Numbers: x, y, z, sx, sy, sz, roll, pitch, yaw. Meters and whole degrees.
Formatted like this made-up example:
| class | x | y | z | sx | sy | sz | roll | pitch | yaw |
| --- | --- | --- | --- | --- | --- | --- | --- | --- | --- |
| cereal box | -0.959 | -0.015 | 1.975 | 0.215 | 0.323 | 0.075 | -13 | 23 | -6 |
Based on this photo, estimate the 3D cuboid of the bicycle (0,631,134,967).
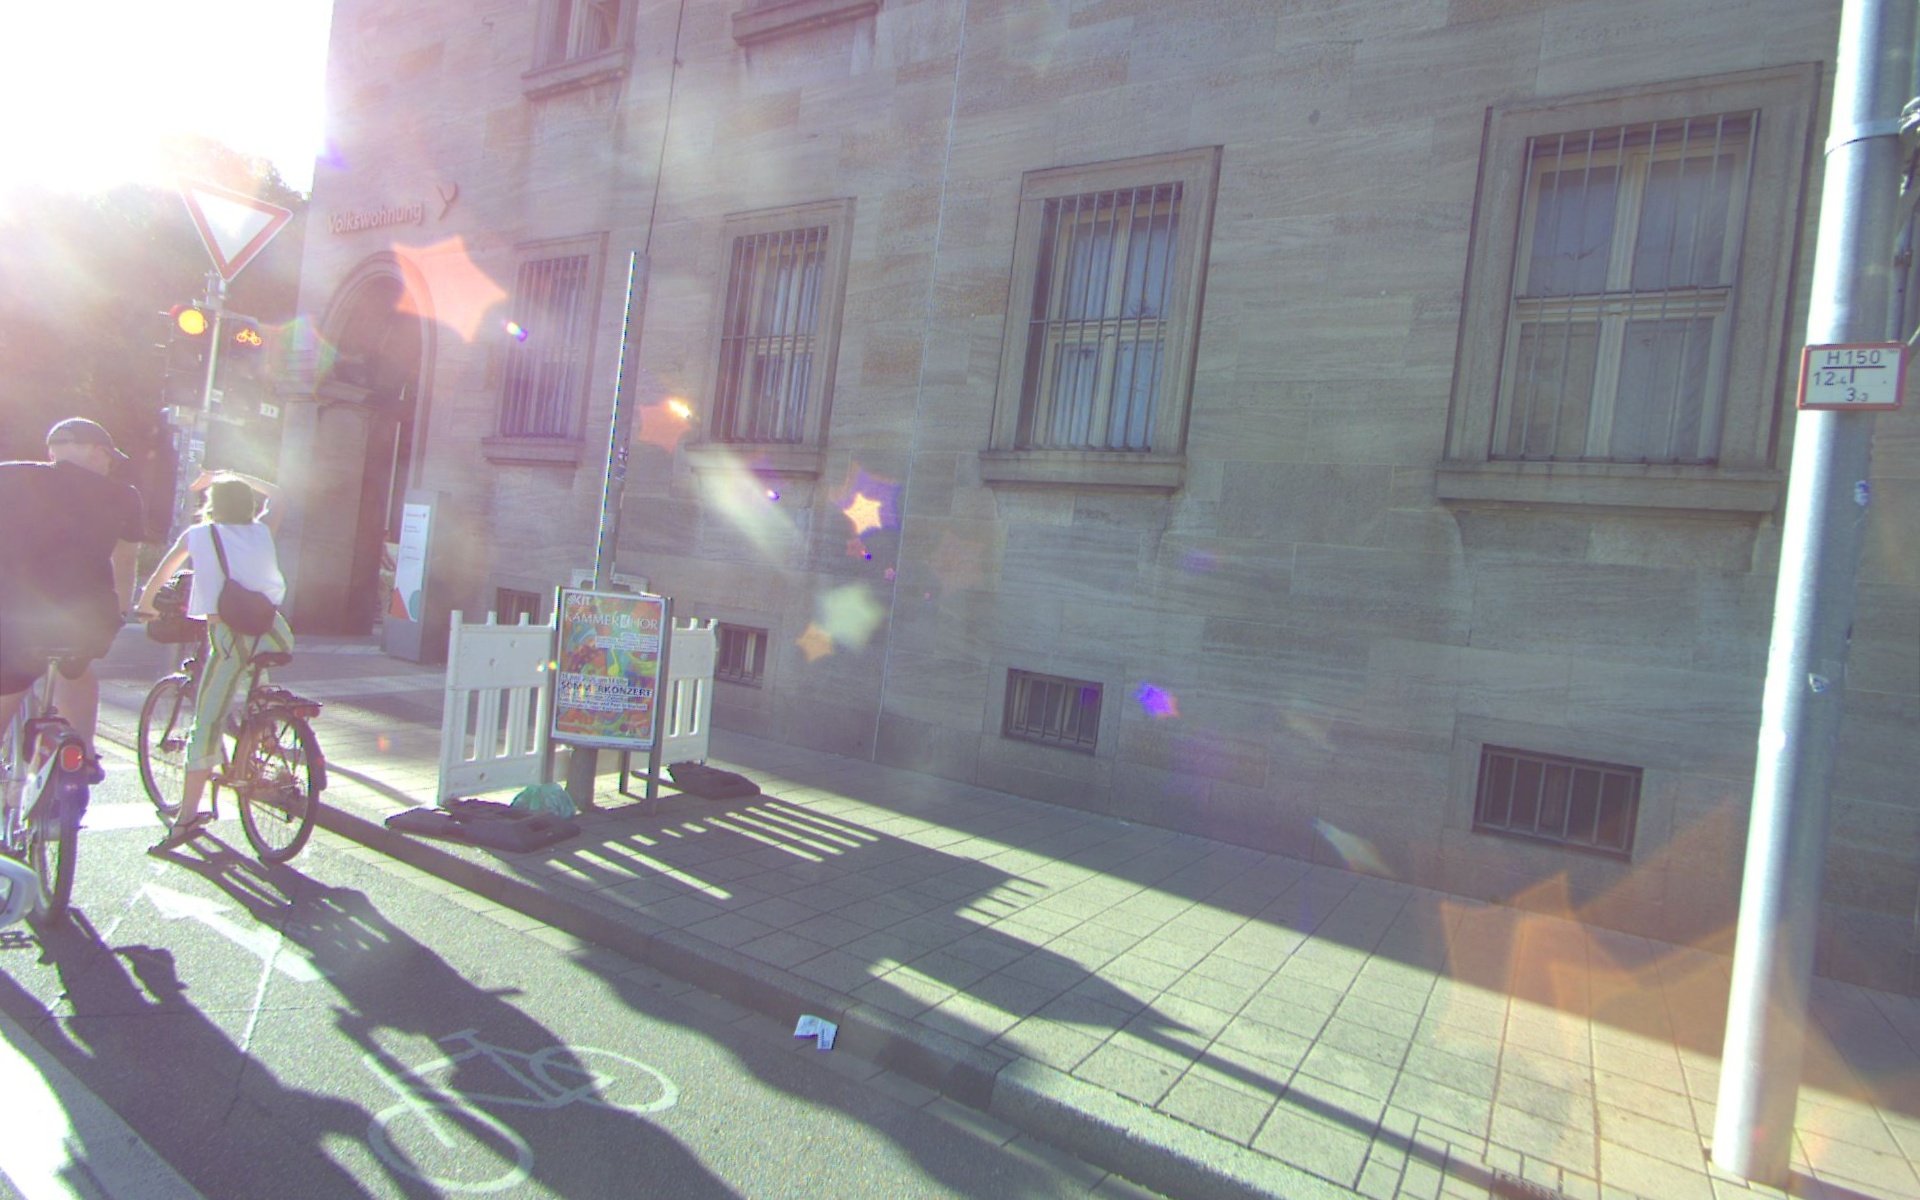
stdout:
| class | x | y | z | sx | sy | sz | roll | pitch | yaw |
| --- | --- | --- | --- | --- | --- | --- | --- | --- | --- |
| bicycle | -3.778 | 0.677 | 3.985 | 1.923 | 0.916 | 0.388 | 7 | 0 | 41 |

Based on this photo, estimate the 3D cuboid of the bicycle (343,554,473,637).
| class | x | y | z | sx | sy | sz | roll | pitch | yaw |
| --- | --- | --- | --- | --- | --- | --- | --- | --- | --- |
| bicycle | -10.006 | -0.057 | 18.307 | 0.778 | 1.307 | 1.855 | 7 | -1 | 28 |

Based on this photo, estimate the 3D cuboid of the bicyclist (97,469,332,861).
| class | x | y | z | sx | sy | sz | roll | pitch | yaw |
| --- | --- | --- | --- | --- | --- | --- | --- | --- | --- |
| bicyclist | -3.583 | 0.275 | 4.830 | 0.845 | 1.700 | 0.522 | 7 | 1 | 35 |

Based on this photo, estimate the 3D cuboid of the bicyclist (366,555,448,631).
| class | x | y | z | sx | sy | sz | roll | pitch | yaw |
| --- | --- | --- | --- | --- | --- | --- | --- | --- | --- |
| bicyclist | -10.032 | -0.126 | 18.255 | 0.783 | 1.233 | 0.927 | 7 | 0 | 29 |

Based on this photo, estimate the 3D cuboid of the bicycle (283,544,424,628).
| class | x | y | z | sx | sy | sz | roll | pitch | yaw |
| --- | --- | --- | --- | --- | --- | --- | --- | --- | --- |
| bicycle | -11.116 | -0.225 | 18.500 | 0.778 | 1.307 | 1.989 | 7 | -1 | 30 |

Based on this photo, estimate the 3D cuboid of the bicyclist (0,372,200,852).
| class | x | y | z | sx | sy | sz | roll | pitch | yaw |
| --- | --- | --- | --- | --- | --- | --- | --- | --- | --- |
| bicyclist | -3.536 | 0.044 | 3.901 | 0.647 | 1.698 | 0.669 | 7 | 1 | 39 |

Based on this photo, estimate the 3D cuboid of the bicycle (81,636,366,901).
| class | x | y | z | sx | sy | sz | roll | pitch | yaw |
| --- | --- | --- | --- | --- | --- | --- | --- | --- | --- |
| bicycle | -3.634 | 0.736 | 4.893 | 1.919 | 0.887 | 0.427 | 7 | 0 | 34 |
